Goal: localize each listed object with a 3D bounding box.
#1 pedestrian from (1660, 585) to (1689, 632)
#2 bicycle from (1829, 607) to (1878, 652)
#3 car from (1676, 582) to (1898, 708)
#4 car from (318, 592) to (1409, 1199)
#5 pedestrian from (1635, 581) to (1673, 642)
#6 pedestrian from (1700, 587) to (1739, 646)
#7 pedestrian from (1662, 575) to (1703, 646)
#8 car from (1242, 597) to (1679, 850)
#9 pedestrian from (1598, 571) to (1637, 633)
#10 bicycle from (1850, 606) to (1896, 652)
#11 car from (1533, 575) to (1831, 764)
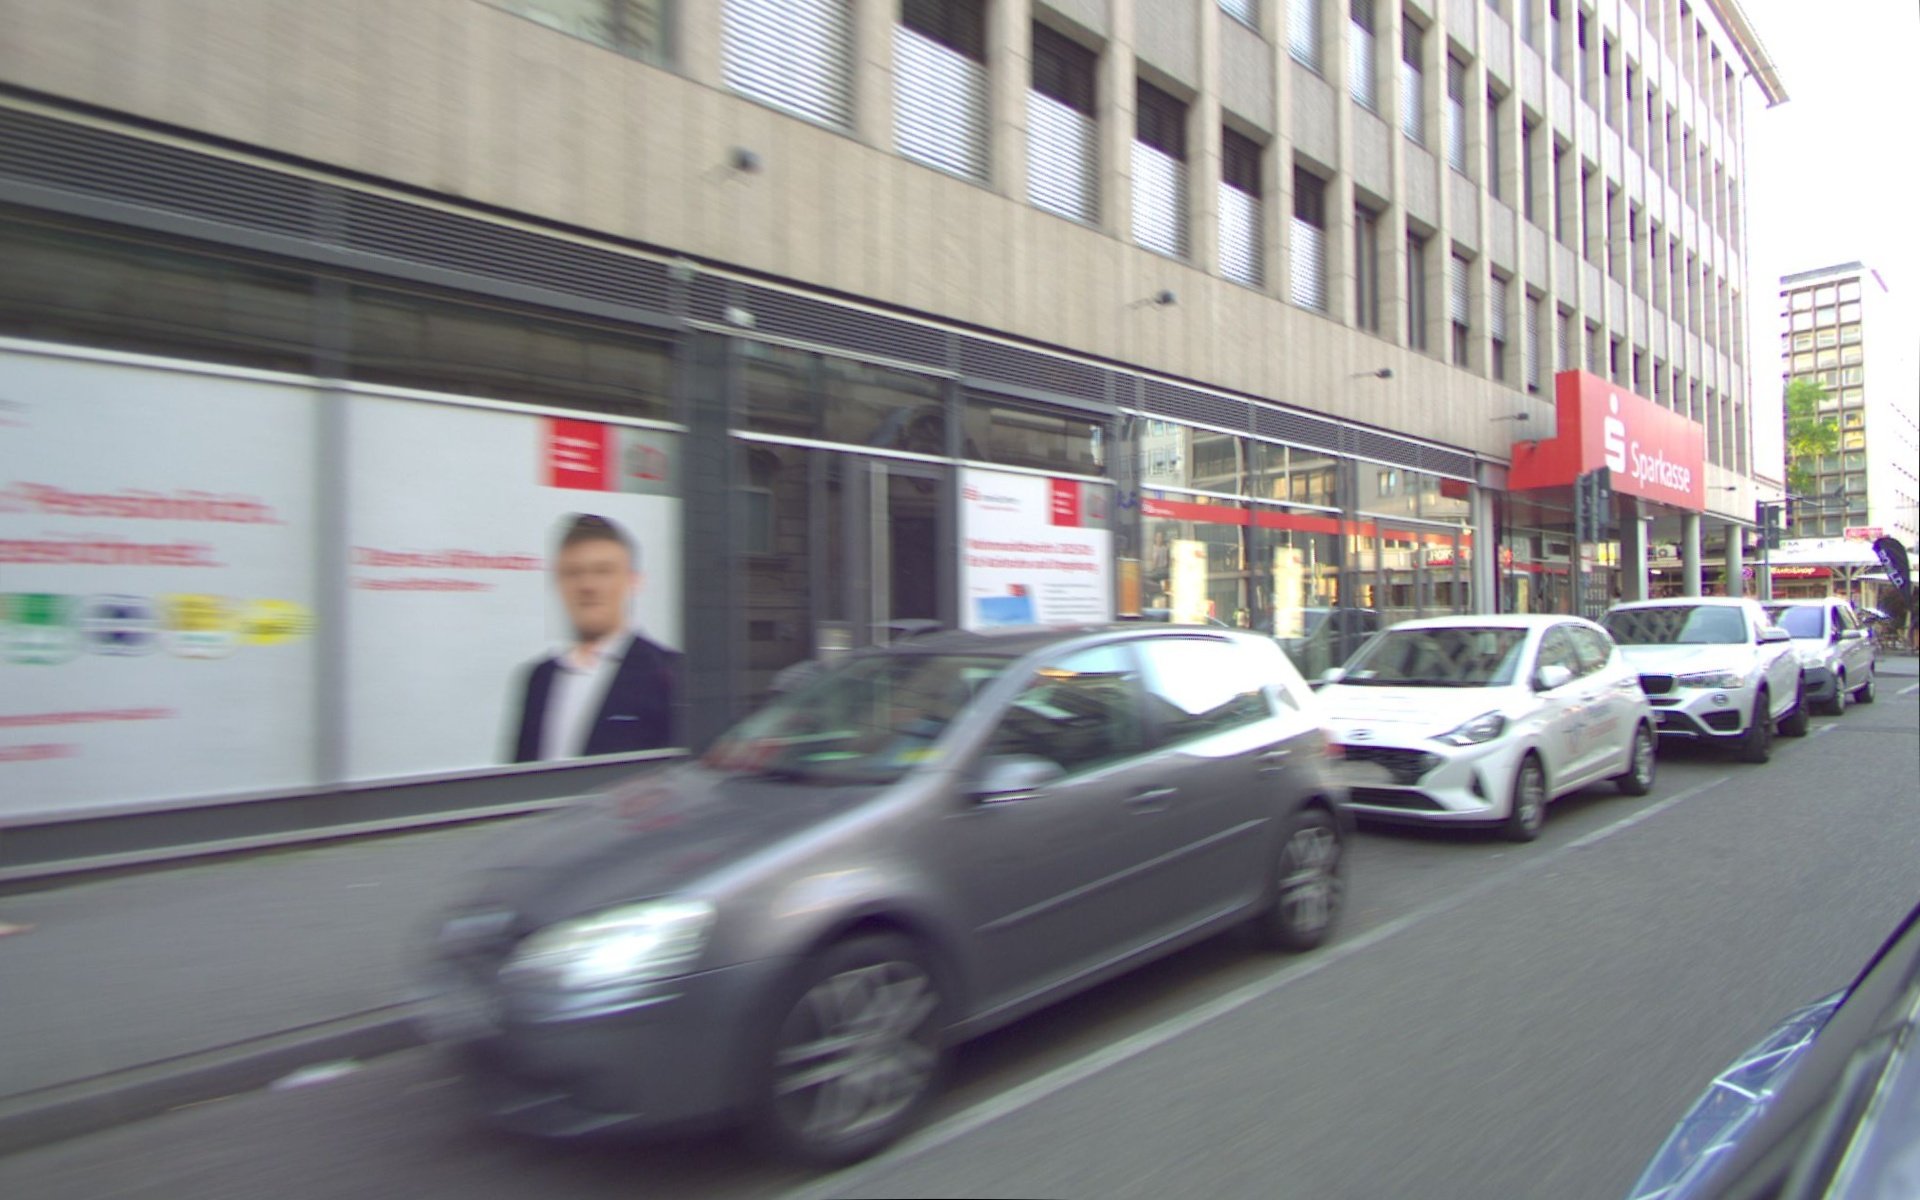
[{"bbox_3d":[26.382,0.328,37.375,0.793,1.710,0.758,-1,-1,41],"label":"pedestrian"},{"bbox_3d":[21.538,0.696,24.381,1.827,1.046,0.383,0,-1,-32],"label":"bicycle"},{"bbox_3d":[12.474,0.617,15.150,4.631,1.619,1.742,0,-3,-41],"label":"car"},{"bbox_3d":[0.055,0.744,4.189,4.370,1.466,1.658,-1,-1,-43],"label":"car"},{"bbox_3d":[20.502,0.327,29.893,0.676,1.784,0.798,1,-1,-43],"label":"pedestrian"},{"bbox_3d":[23.140,0.488,30.845,0.791,1.784,0.682,0,-1,23],"label":"pedestrian"},{"bbox_3d":[20.212,0.297,28.331,0.675,1.943,0.798,1,-1,-42],"label":"pedestrian"},{"bbox_3d":[4.037,0.755,7.921,3.801,1.466,1.659,-1,-1,-40],"label":"car"},{"bbox_3d":[19.176,0.057,29.537,0.675,1.784,0.798,1,-1,-41],"label":"pedestrian"},{"bbox_3d":[21.725,0.674,24.084,1.827,1.046,0.330,0,-1,-32],"label":"bicycle"},{"bbox_3d":[8.215,0.617,11.324,4.733,1.687,1.777,-1,-1,-43],"label":"car"}]
